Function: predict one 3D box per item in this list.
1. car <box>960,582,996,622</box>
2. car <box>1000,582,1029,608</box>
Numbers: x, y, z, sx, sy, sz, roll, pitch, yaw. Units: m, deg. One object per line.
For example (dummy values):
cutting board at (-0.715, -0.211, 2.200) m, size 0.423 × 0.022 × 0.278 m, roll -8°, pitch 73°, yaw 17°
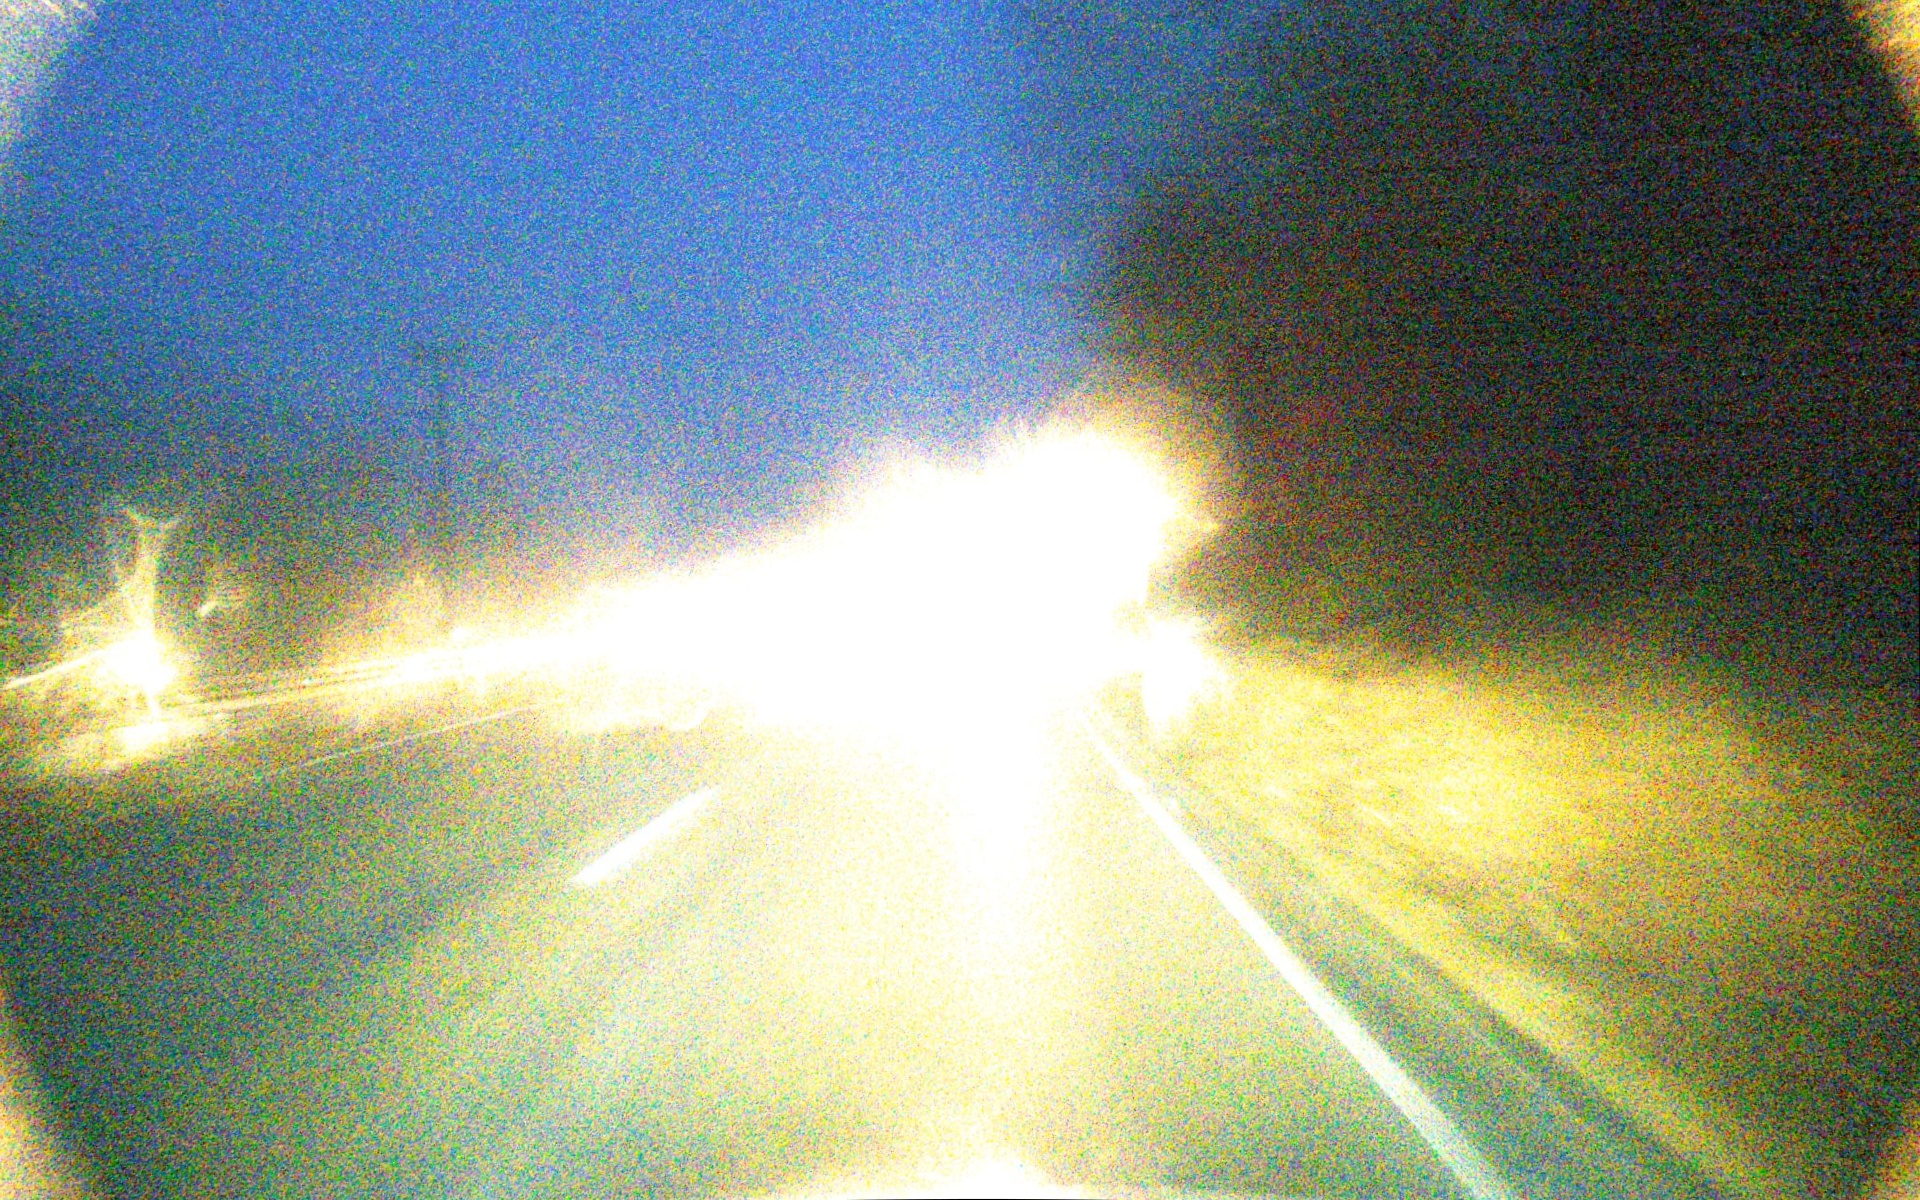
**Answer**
car at (0.915, 0.071, 81.931) m, size 1.720 × 1.900 × 4.001 m, roll 0°, pitch 0°, yaw 1°
car at (3.942, -0.392, 119.429) m, size 1.952 × 1.684 × 4.002 m, roll -3°, pitch 1°, yaw 2°
